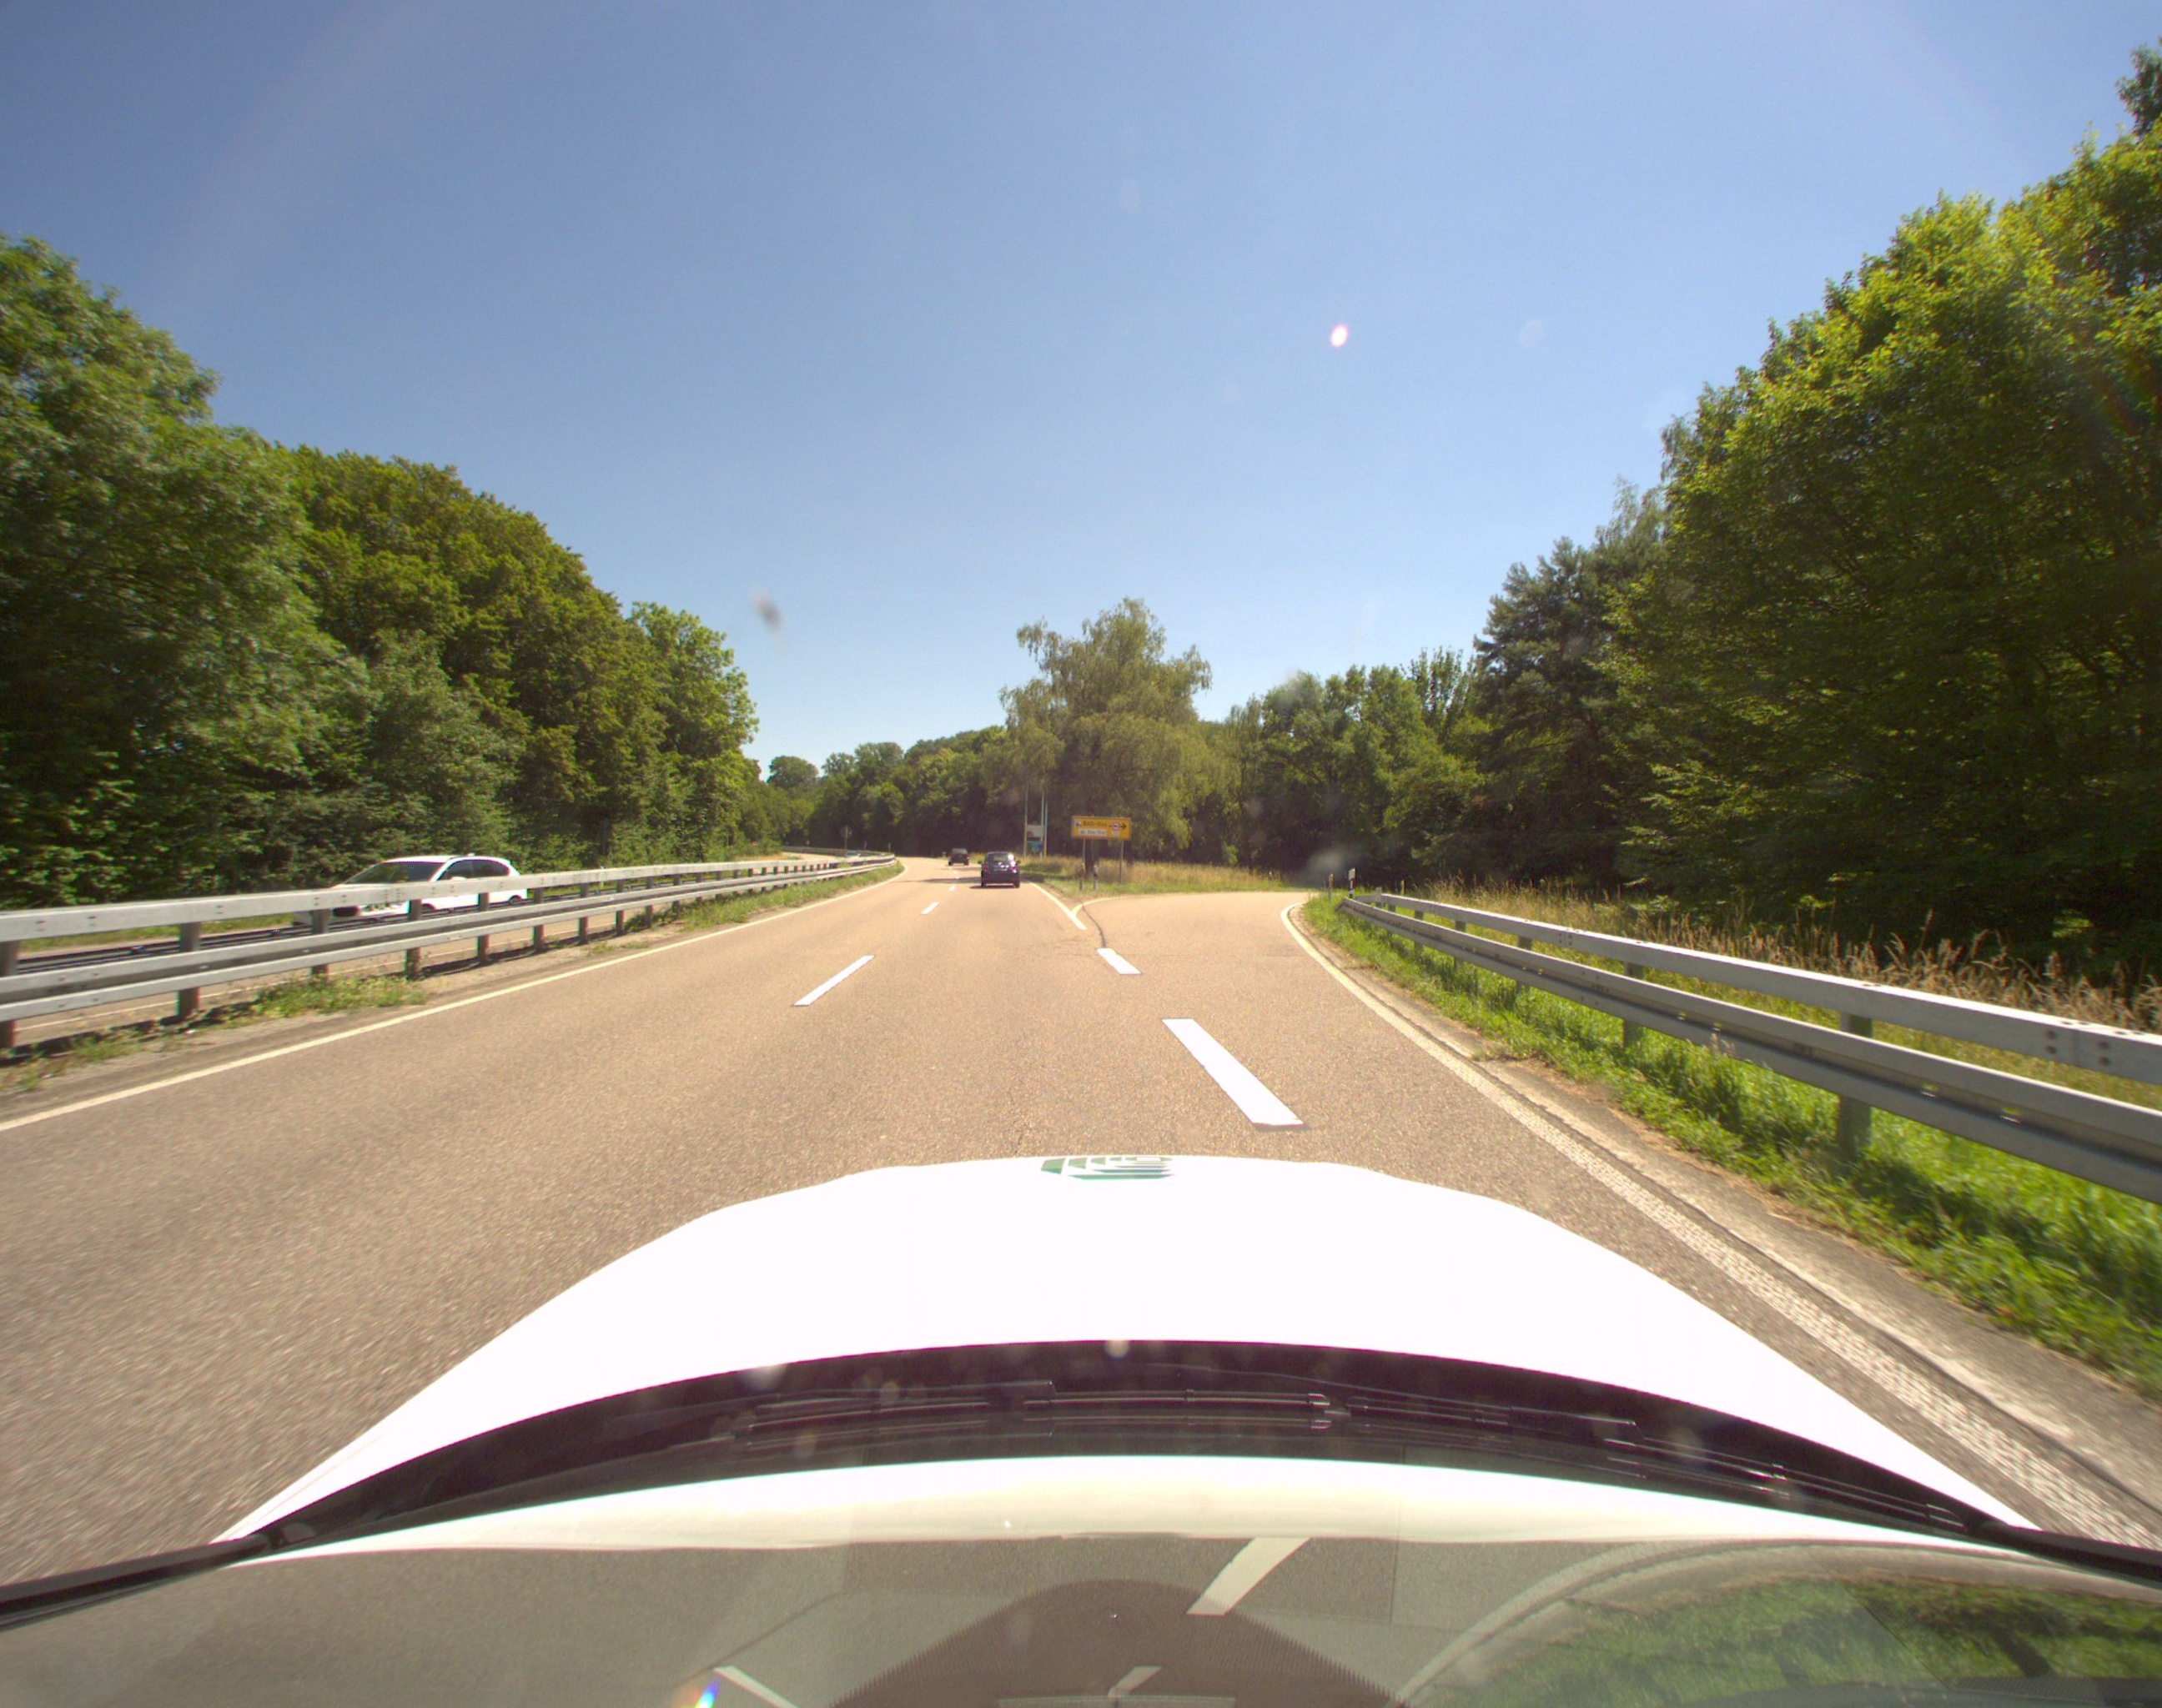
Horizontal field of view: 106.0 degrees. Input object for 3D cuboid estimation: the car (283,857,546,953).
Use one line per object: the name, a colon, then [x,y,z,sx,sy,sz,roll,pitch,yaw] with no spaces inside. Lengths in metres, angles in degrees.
car: [-12.813,0.876,16.108,1.752,1.573,4.408,-1,0,-4]

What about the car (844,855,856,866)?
car: [-28.966,0.823,102.071,1.444,1.381,3.827,-1,0,-17]

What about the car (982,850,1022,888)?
car: [-3.305,0.592,34.636,1.510,1.501,3.586,-1,0,-3]

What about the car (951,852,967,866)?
car: [-12.028,0.462,80.171,1.525,1.313,3.403,-1,0,-10]
